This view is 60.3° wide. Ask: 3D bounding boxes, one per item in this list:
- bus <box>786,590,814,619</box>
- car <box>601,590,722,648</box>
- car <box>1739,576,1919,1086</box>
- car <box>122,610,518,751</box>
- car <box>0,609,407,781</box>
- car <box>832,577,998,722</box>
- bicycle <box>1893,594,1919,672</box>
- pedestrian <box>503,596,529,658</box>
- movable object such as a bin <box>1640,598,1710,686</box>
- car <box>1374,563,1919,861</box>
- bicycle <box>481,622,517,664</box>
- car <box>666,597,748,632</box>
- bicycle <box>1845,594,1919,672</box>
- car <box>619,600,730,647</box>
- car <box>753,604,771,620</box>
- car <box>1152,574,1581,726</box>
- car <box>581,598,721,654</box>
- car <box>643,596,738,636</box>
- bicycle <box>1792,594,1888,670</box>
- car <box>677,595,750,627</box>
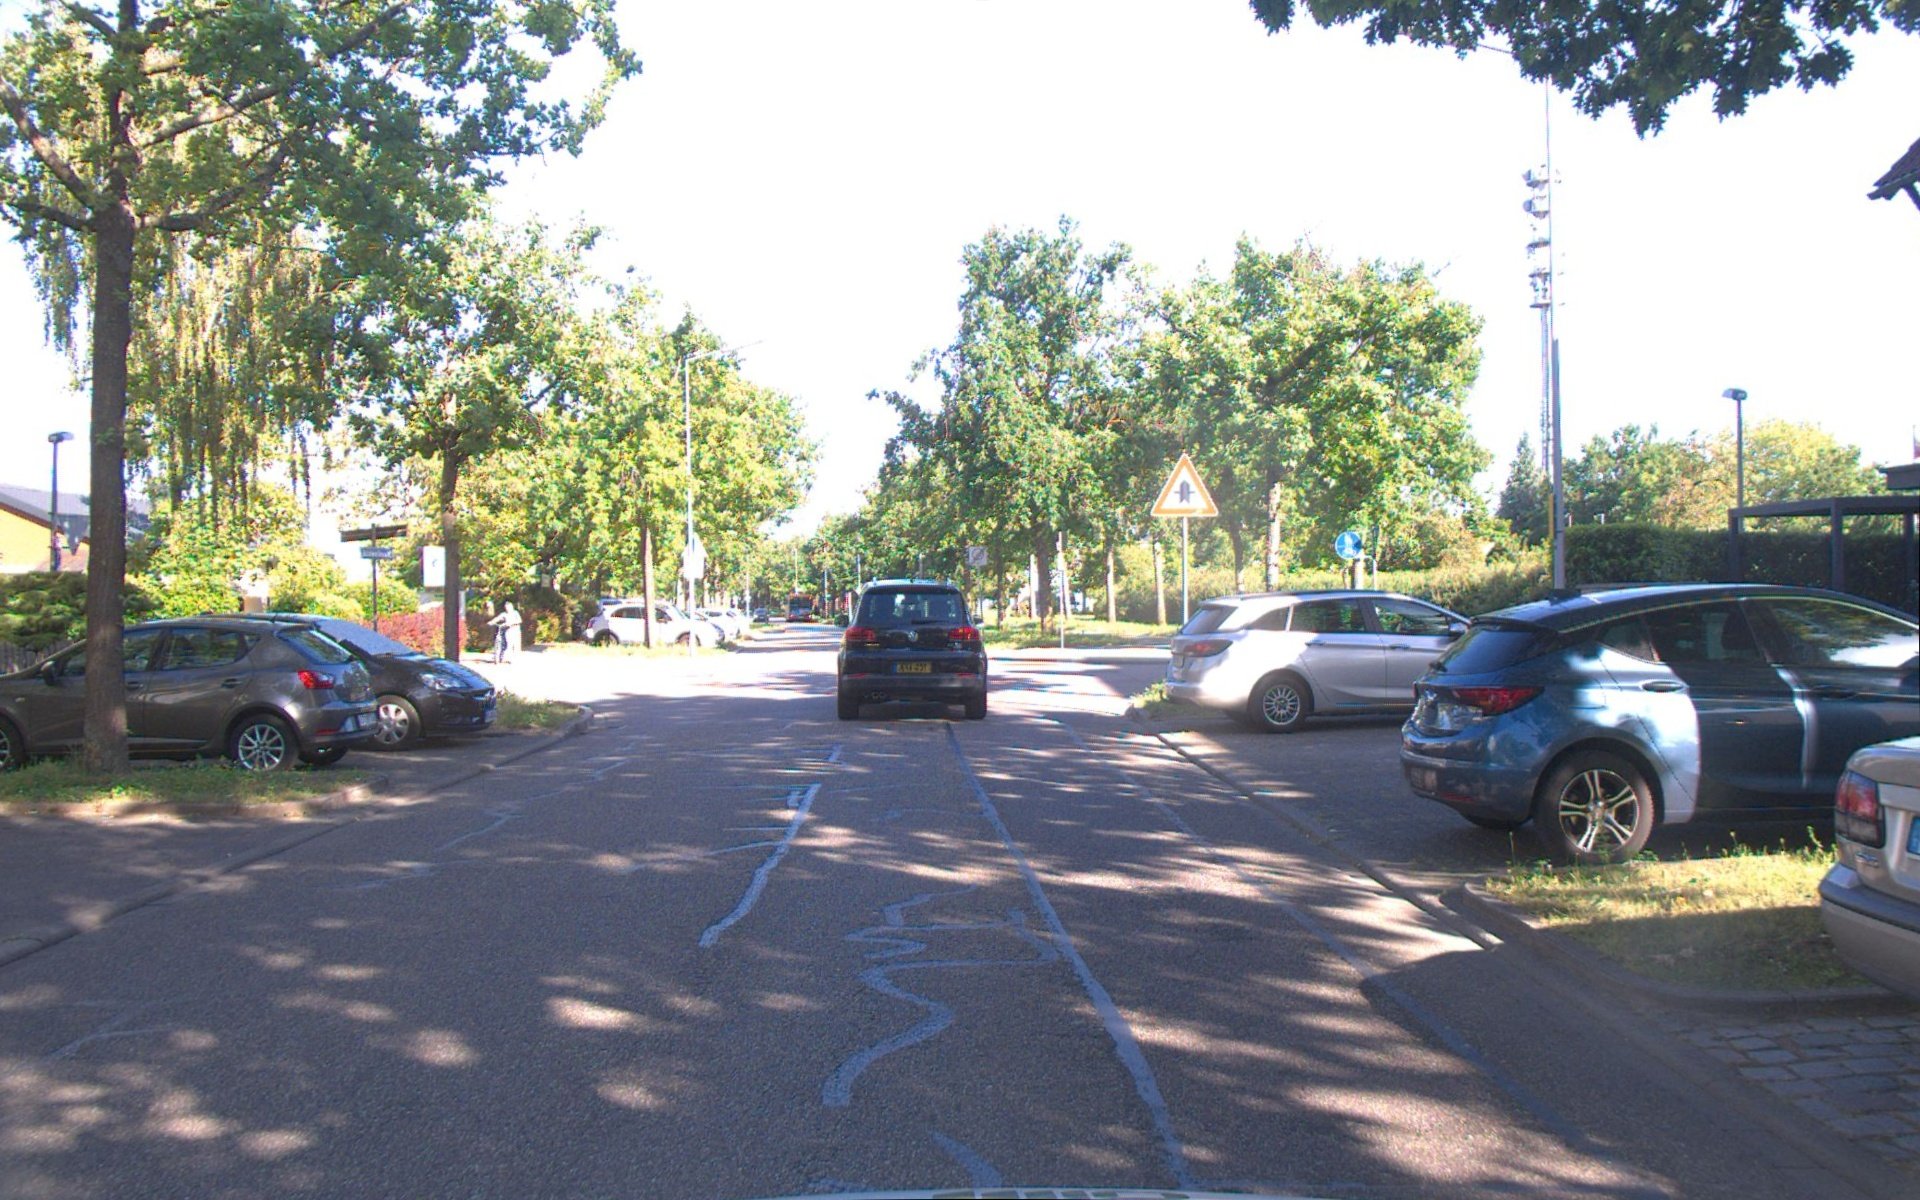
[{"bbox_3d":[-17.549,0.469,181.672,2.871,3.056,5.732,-1,0,-4],"label":"bus"},{"bbox_3d":[-10.406,0.646,57.926,3.937,1.872,1.895,-1,0,-5],"label":"car"},{"bbox_3d":[4.791,0.608,4.858,4.193,1.439,1.795,-1,0,-5],"label":"car"},{"bbox_3d":[-7.122,0.872,18.668,3.778,1.484,1.713,0,0,0],"label":"car"},{"bbox_3d":[-7.428,0.864,15.680,3.742,1.444,1.771,-1,0,-2],"label":"car"},{"bbox_3d":[-0.476,0.567,21.042,1.799,1.665,3.959,0,0,3],"label":"car"},{"bbox_3d":[13.995,0.449,23.562,1.653,1.072,0.526,-1,0,-33],"label":"bicycle"},{"bbox_3d":[-11.566,0.704,43.094,0.432,1.584,0.801,-1,0,-1],"label":"pedestrian"},{"bbox_3d":[8.870,0.513,20.530,0.523,1.063,0.699,-1,0,-2],"label":"movable object such as a bin"},{"bbox_3d":[4.760,0.572,9.713,4.189,1.529,1.797,-1,0,0],"label":"car"},{"bbox_3d":[-11.994,1.113,43.078,0.438,1.057,1.892,-1,-1,-1],"label":"bicycle"},{"bbox_3d":[-12.713,0.725,83.269,3.937,1.676,1.809,-1,0,-5],"label":"car"},{"bbox_3d":[13.593,0.459,24.064,1.653,1.072,0.526,-1,0,-33],"label":"bicycle"},{"bbox_3d":[-10.797,0.883,62.801,3.937,1.676,1.895,-1,0,-5],"label":"car"},{"bbox_3d":[-23.126,1.383,193.308,1.816,1.722,3.952,-1,0,-4],"label":"car"},{"bbox_3d":[4.427,0.528,18.488,4.337,1.517,1.797,-1,0,0],"label":"car"},{"bbox_3d":[-9.750,0.809,52.462,4.159,1.651,1.895,-1,0,-5],"label":"car"},{"bbox_3d":[-11.807,0.690,72.694,3.937,1.676,1.809,-1,0,-5],"label":"car"},{"bbox_3d":[13.163,0.470,24.733,1.653,1.072,0.526,-1,0,-33],"label":"bicycle"},{"bbox_3d":[-13.923,0.609,93.507,3.937,1.676,1.809,-1,0,-5],"label":"car"}]
